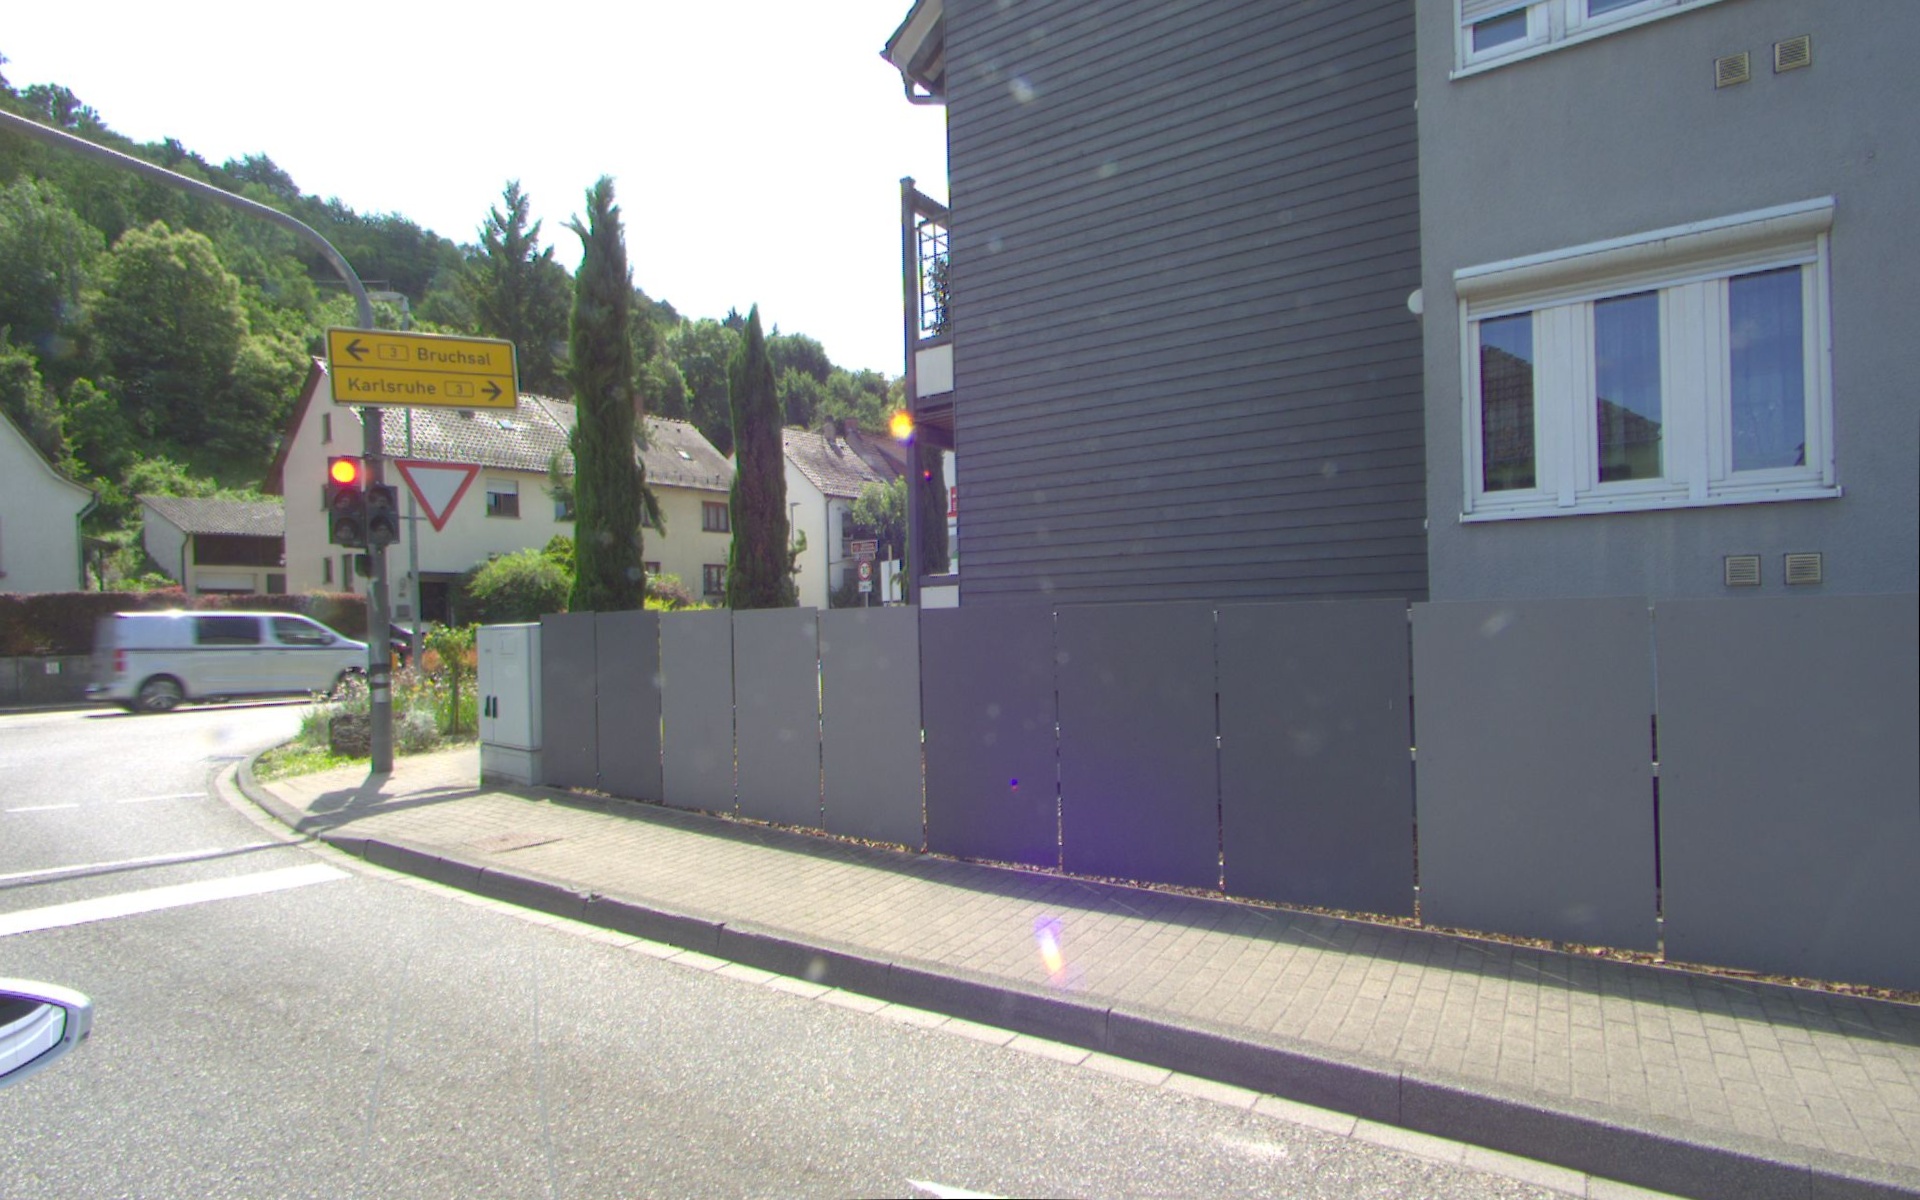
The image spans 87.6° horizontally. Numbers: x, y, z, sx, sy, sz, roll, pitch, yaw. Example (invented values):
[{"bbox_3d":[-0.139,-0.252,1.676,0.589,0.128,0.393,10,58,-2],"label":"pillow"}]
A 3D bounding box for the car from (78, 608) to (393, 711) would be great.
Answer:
[{"bbox_3d":[-14.586,1.154,20.443,1.976,1.844,4.856,-4,-3,37],"label":"car"}]

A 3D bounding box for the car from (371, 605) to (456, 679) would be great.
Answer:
[{"bbox_3d":[-17.264,1.266,31.554,1.780,1.410,3.650,0,12,-38],"label":"car"}]

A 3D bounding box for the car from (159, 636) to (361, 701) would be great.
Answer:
[{"bbox_3d":[-16.489,1.588,23.720,1.624,1.379,3.597,-5,-4,36],"label":"car"}]
